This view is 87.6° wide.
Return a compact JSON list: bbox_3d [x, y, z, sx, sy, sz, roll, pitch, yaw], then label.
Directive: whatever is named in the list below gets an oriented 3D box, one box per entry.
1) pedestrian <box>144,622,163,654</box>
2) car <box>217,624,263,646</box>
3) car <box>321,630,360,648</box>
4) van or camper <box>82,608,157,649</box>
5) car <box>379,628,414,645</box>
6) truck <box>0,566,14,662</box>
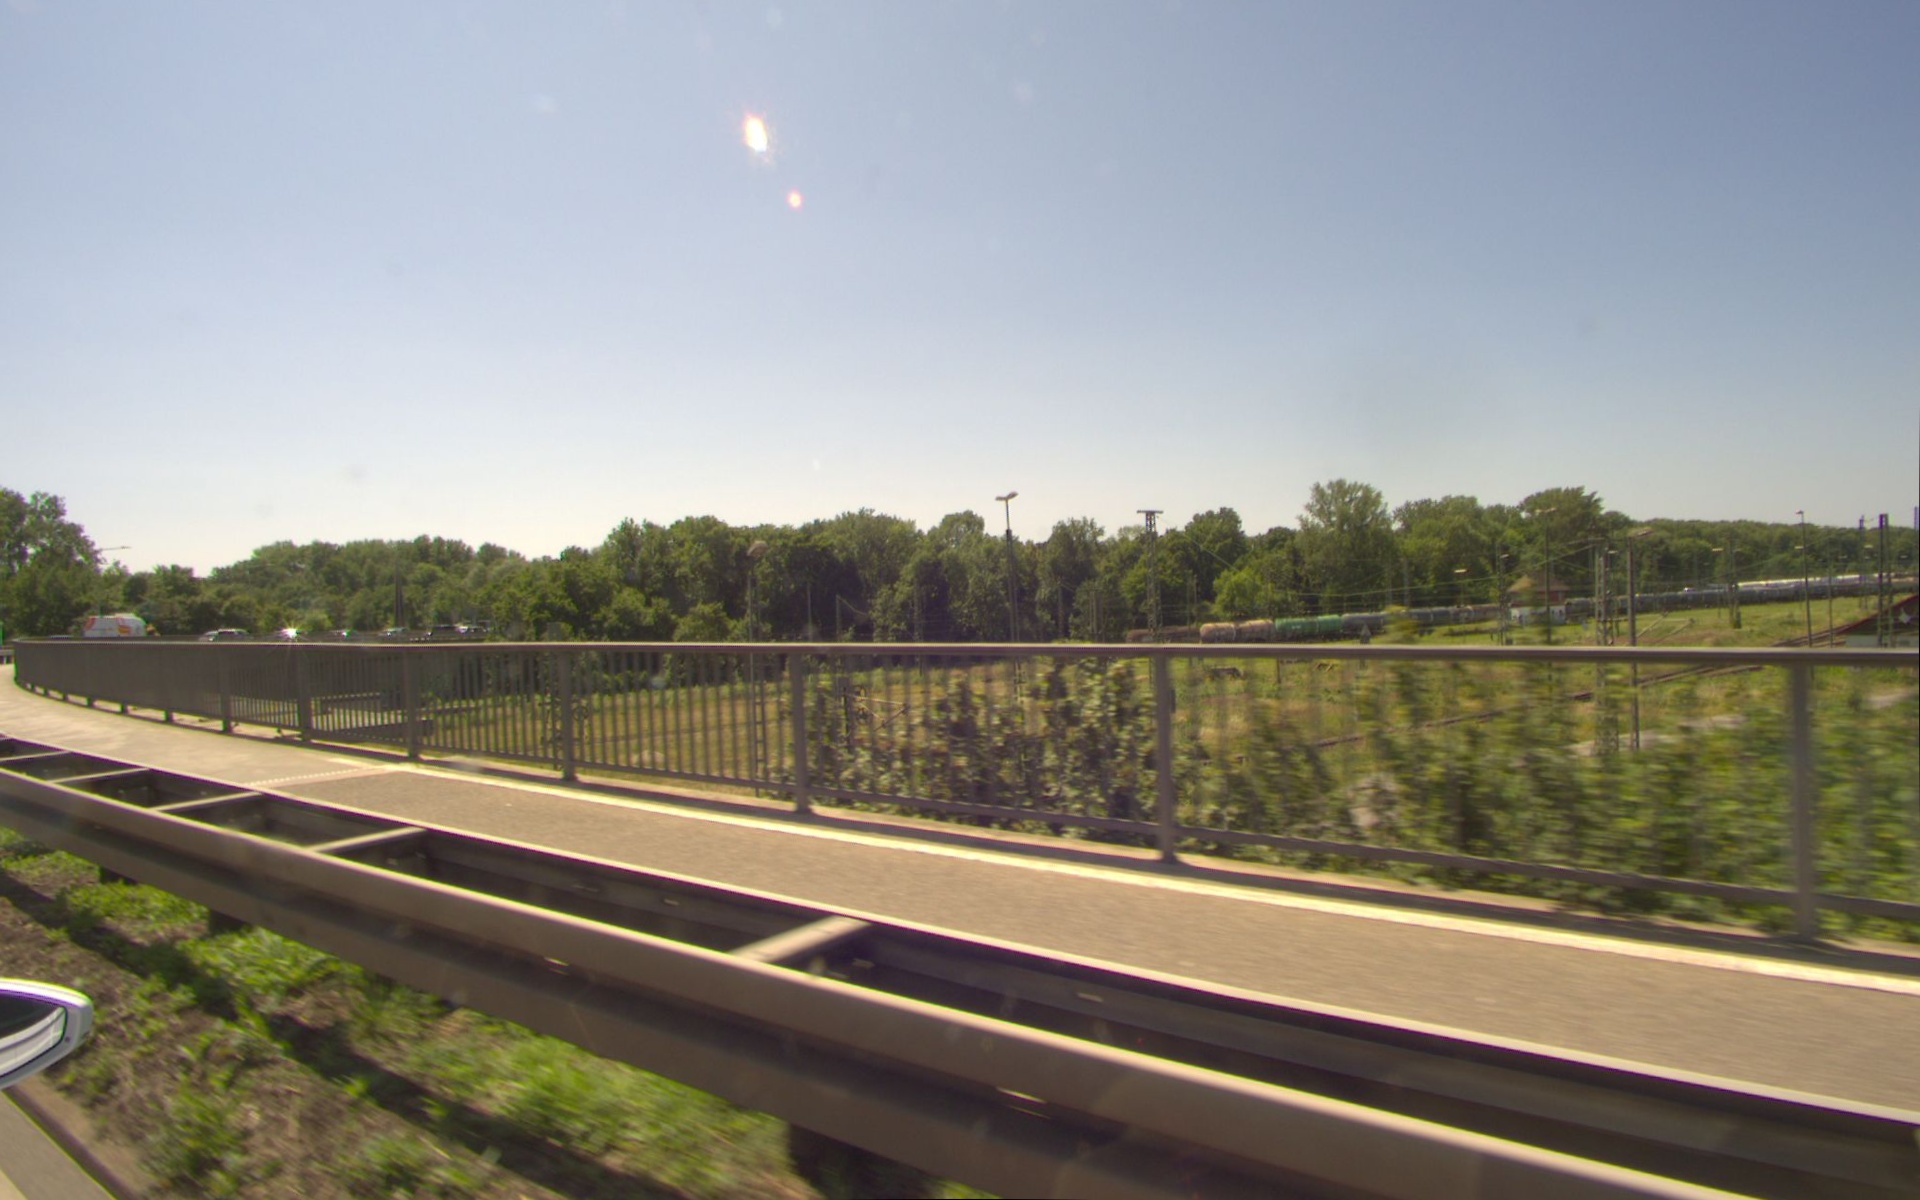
[{"bbox_3d":[-50.183,2.356,62.322,0.727,1.992,0.732,0,-1,-25],"label":"pedestrian"},{"bbox_3d":[-62.839,3.093,87.456,1.860,1.873,3.997,0,-2,-13],"label":"car"},{"bbox_3d":[-66.776,4.174,108.047,1.858,1.873,4.002,0,-2,-3],"label":"car"},{"bbox_3d":[-58.384,1.961,69.689,2.173,2.746,5.910,0,-1,-21],"label":"van or camper"},{"bbox_3d":[-67.059,4.339,119.185,1.858,1.873,4.002,-1,-2,0],"label":"car"},{"bbox_3d":[-47.309,0.614,46.928,3.139,4.643,7.351,0,-2,-34],"label":"truck"}]
